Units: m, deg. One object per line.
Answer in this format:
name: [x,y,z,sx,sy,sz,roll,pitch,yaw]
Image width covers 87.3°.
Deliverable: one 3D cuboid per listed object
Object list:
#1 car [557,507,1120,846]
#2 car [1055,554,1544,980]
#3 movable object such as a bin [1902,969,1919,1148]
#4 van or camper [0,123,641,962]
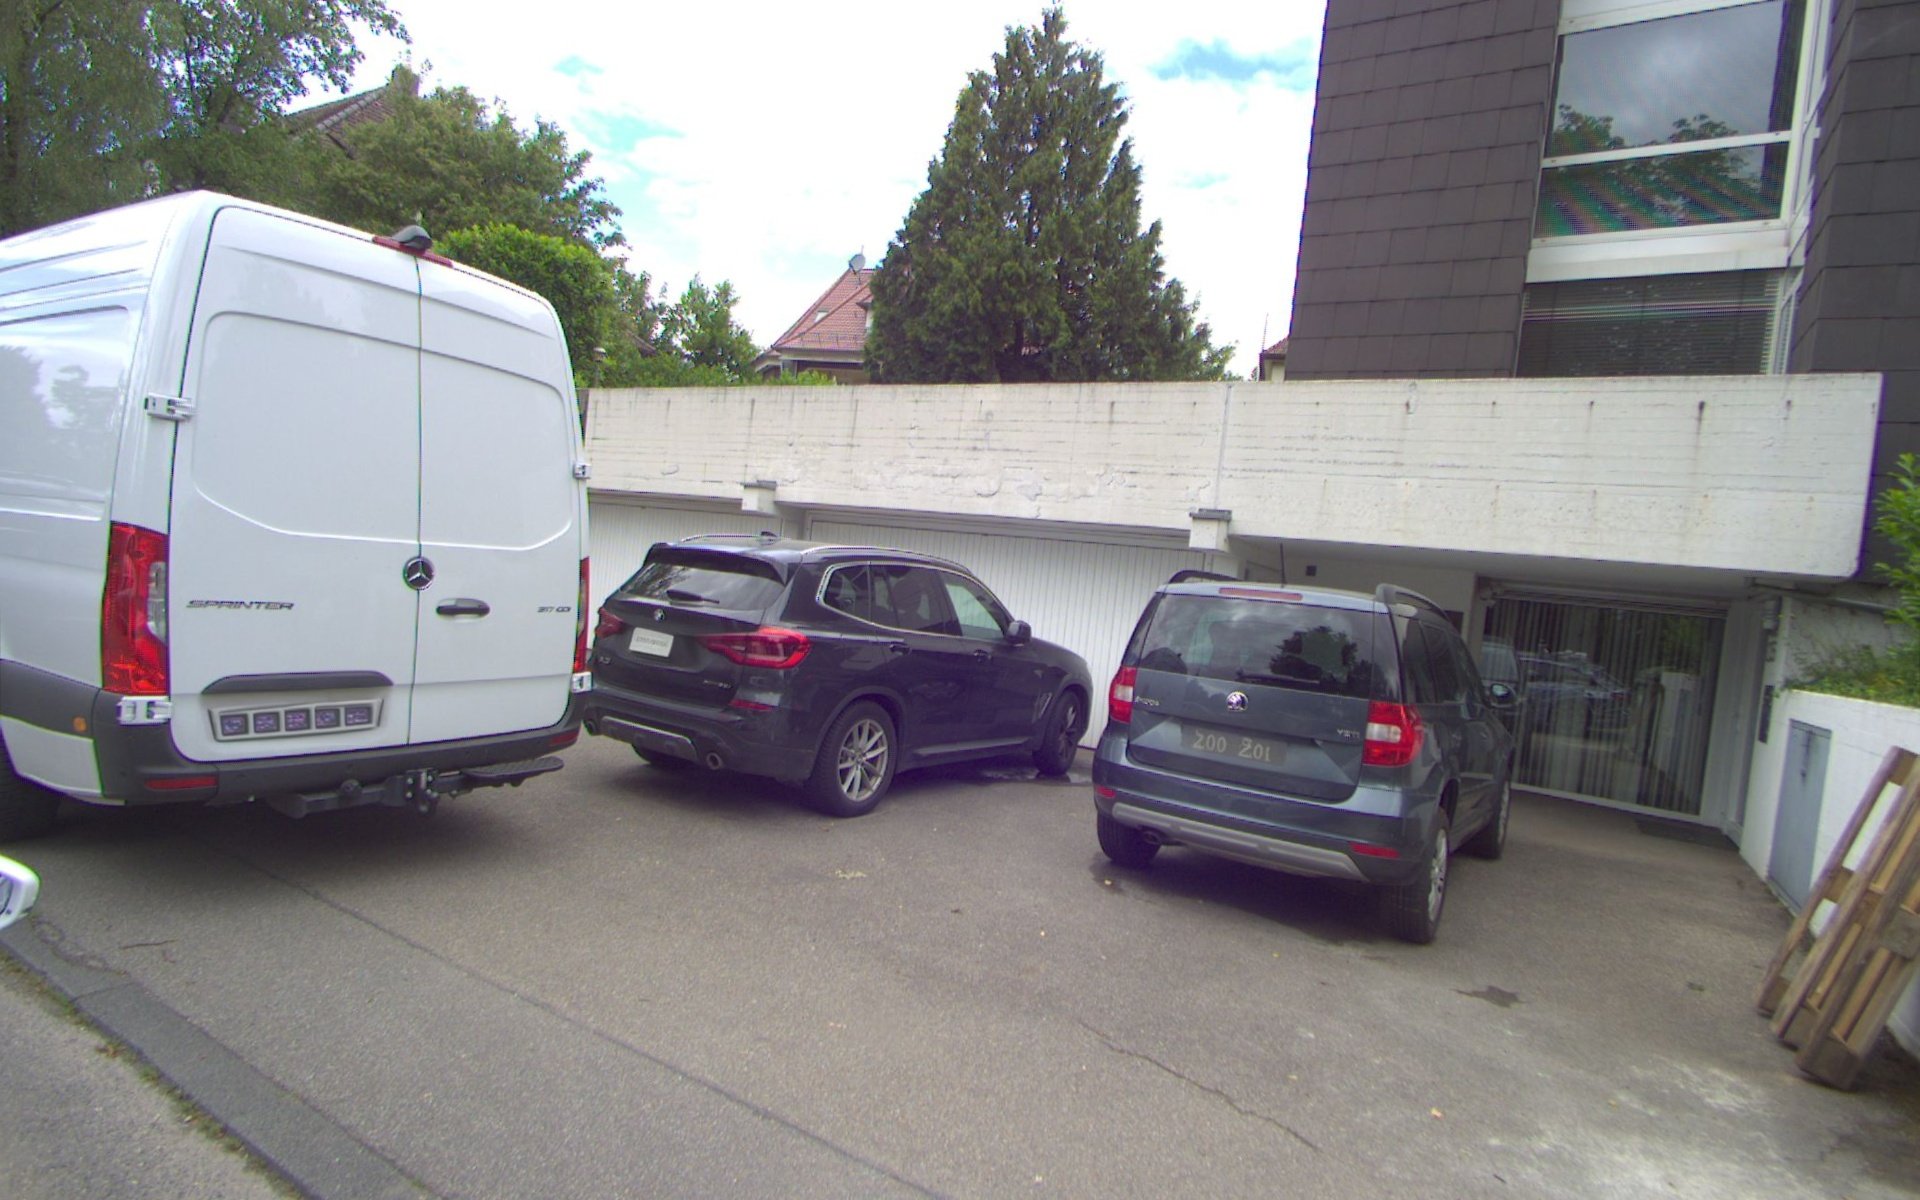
car: [-0.520,0.453,7.496,1.668,1.696,4.384,6,1,32]
car: [2.370,0.769,6.255,1.717,1.672,3.899,6,1,35]
movable object such as a bin: [3.295,1.014,2.434,1.098,1.469,1.405,6,1,32]
van or camper: [-4.852,-0.426,5.740,6.436,2.662,1.990,6,4,32]
